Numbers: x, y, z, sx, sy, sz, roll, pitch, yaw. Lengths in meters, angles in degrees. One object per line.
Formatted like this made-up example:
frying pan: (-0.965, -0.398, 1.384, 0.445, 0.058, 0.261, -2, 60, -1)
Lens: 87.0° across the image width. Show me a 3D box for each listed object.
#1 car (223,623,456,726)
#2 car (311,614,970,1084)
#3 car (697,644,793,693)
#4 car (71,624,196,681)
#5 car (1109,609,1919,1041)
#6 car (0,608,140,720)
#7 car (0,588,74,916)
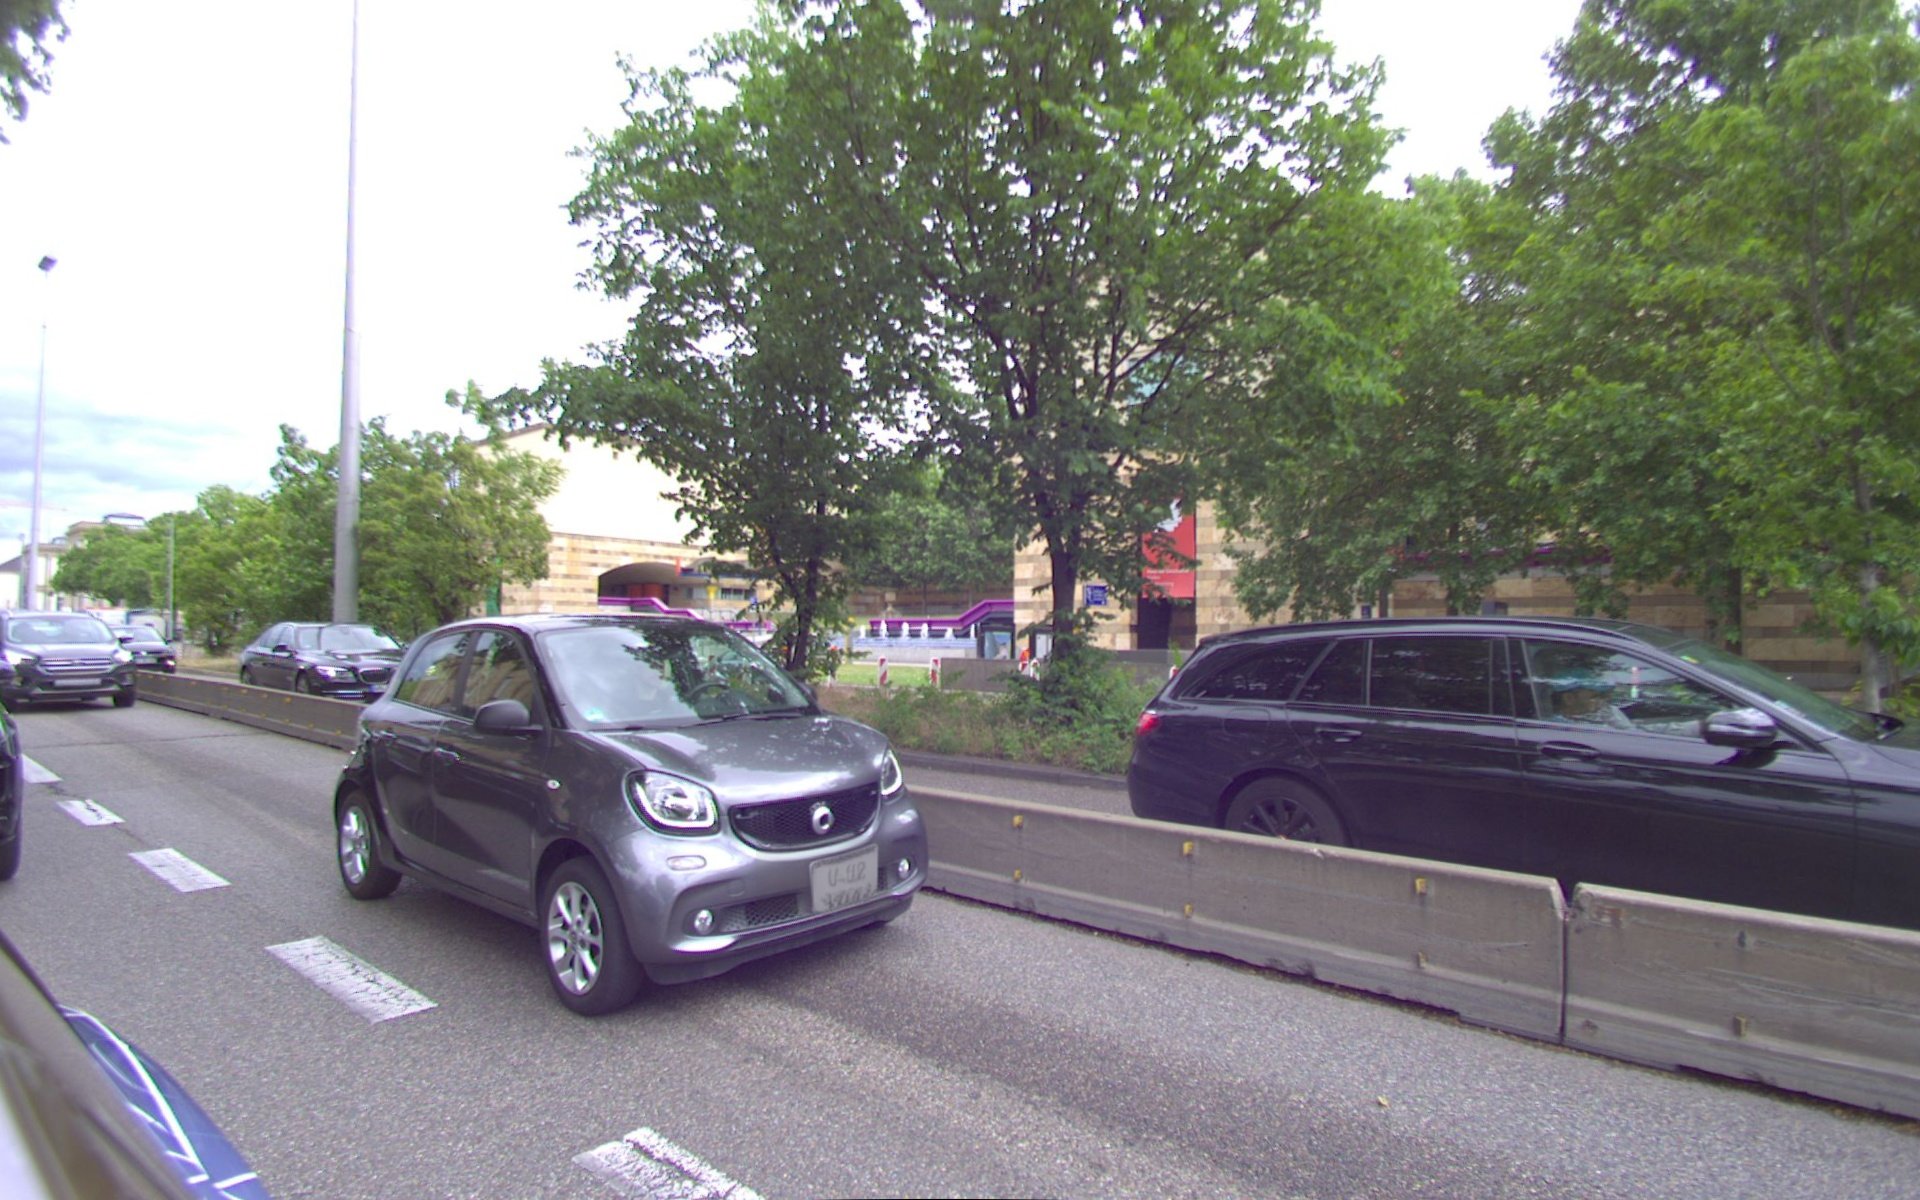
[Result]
car: (-10.475, 1.159, 16.927, 4.807, 1.494, 1.973, -2, -3, 41)
car: (-1.796, 0.831, 5.090, 3.539, 1.520, 1.610, -1, -1, 42)
car: (-7.729, 2.418, 36.257, 3.577, 1.621, 1.561, -2, -3, 42)
car: (-23.633, 1.459, 28.867, 4.807, 1.494, 1.973, -2, -3, 41)
car: (3.246, 0.800, 4.861, 4.864, 1.471, 1.792, -1, 0, 44)
car: (-16.050, 1.060, 17.795, 4.657, 1.728, 1.873, -2, -2, 43)
car: (-7.043, 0.795, 5.925, 4.596, 1.638, 2.036, -1, 0, 39)
